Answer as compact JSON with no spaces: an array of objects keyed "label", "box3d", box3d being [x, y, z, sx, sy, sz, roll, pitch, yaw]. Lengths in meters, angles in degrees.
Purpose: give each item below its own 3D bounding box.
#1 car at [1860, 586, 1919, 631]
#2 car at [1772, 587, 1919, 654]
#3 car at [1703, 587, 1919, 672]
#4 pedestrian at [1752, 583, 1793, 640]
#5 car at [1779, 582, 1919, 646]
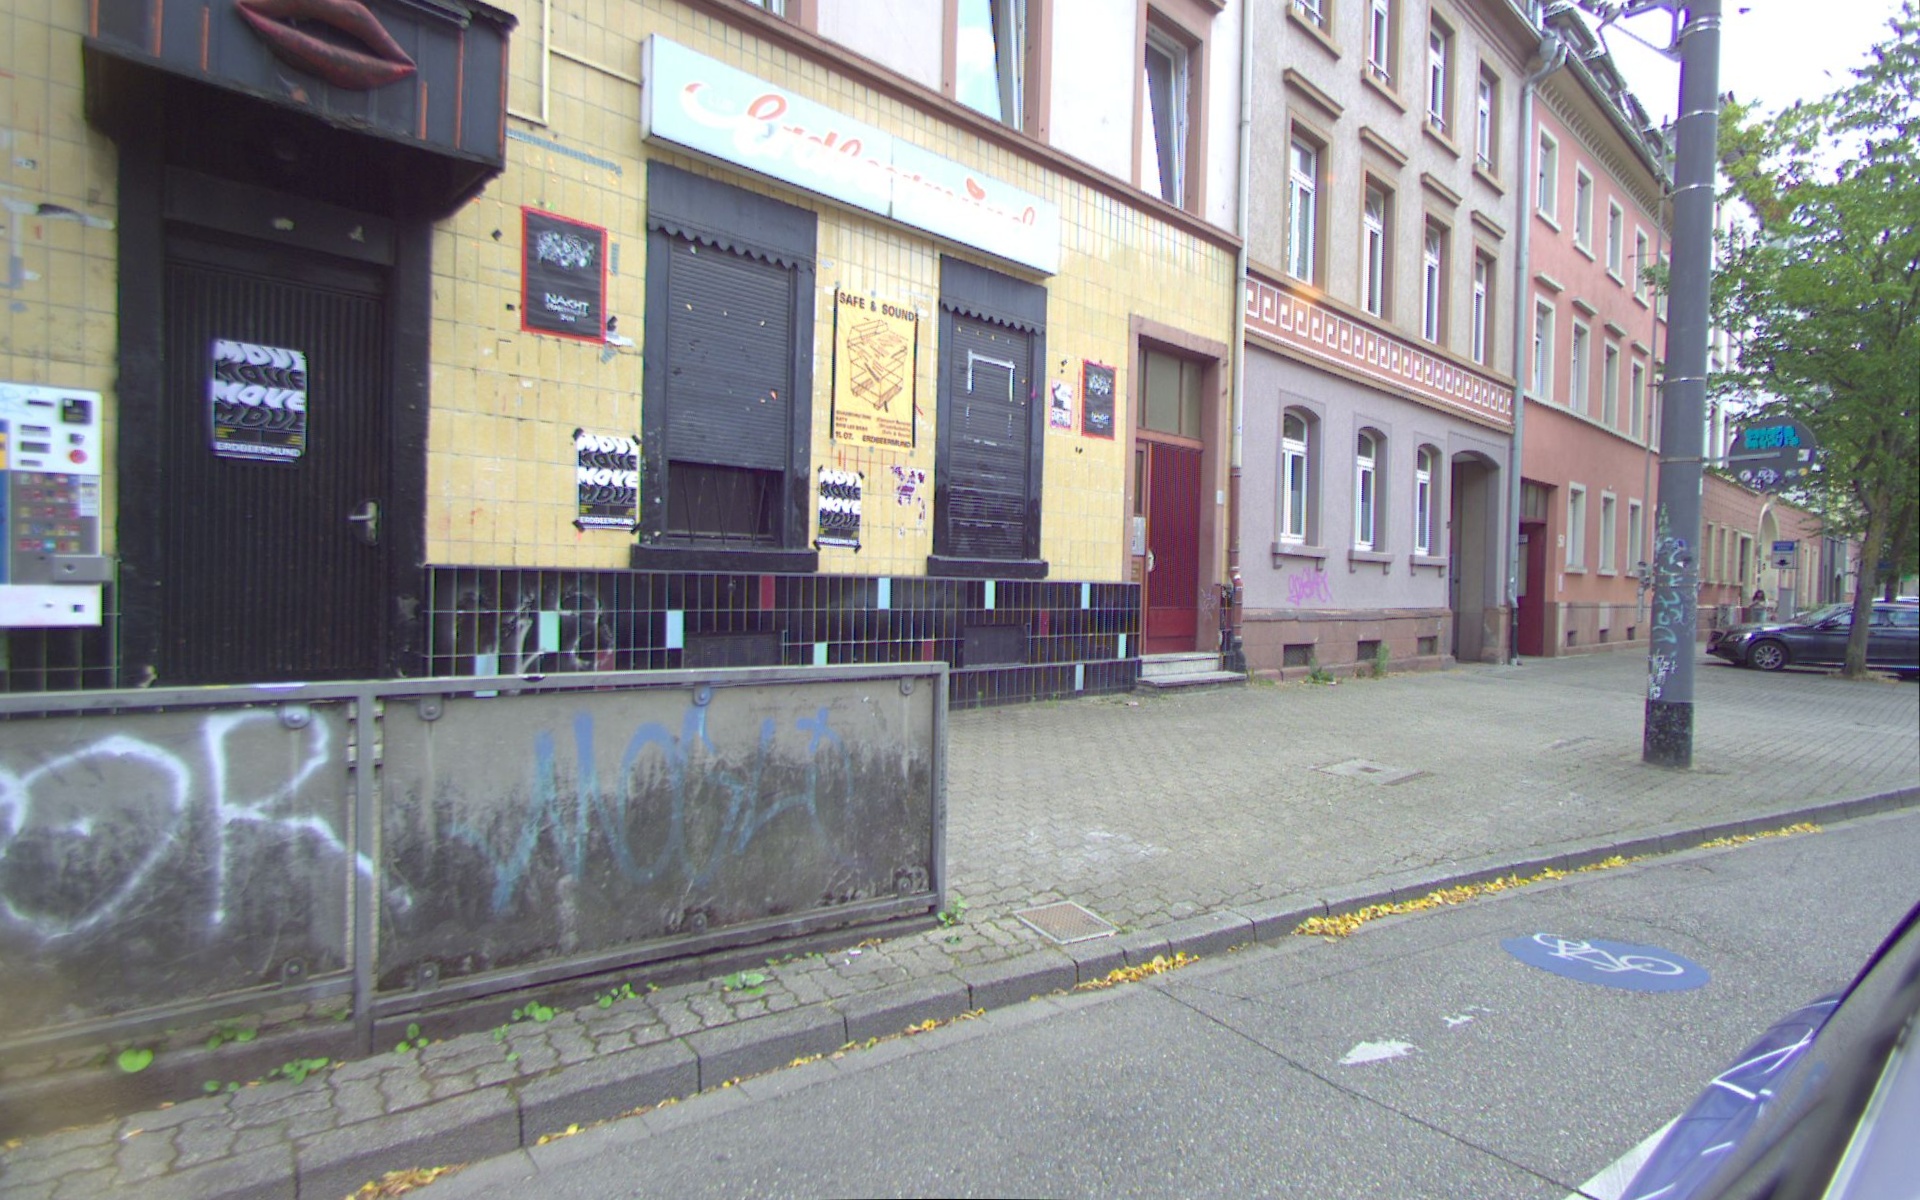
[{"label":"car","box3d":[39.347,0.411,40.462,4.581,1.719,1.901,3,2,25]},{"label":"car","box3d":[23.133,0.524,25.084,4.301,1.498,1.774,3,2,25]},{"label":"car","box3d":[18.023,0.585,20.364,4.581,1.491,1.774,3,2,25]},{"label":"pedestrian","box3d":[25.547,0.344,31.825,0.910,1.708,0.732,1,4,-42]},{"label":"car","box3d":[27.684,0.428,30.552,4.196,1.719,1.725,3,2,25]}]
